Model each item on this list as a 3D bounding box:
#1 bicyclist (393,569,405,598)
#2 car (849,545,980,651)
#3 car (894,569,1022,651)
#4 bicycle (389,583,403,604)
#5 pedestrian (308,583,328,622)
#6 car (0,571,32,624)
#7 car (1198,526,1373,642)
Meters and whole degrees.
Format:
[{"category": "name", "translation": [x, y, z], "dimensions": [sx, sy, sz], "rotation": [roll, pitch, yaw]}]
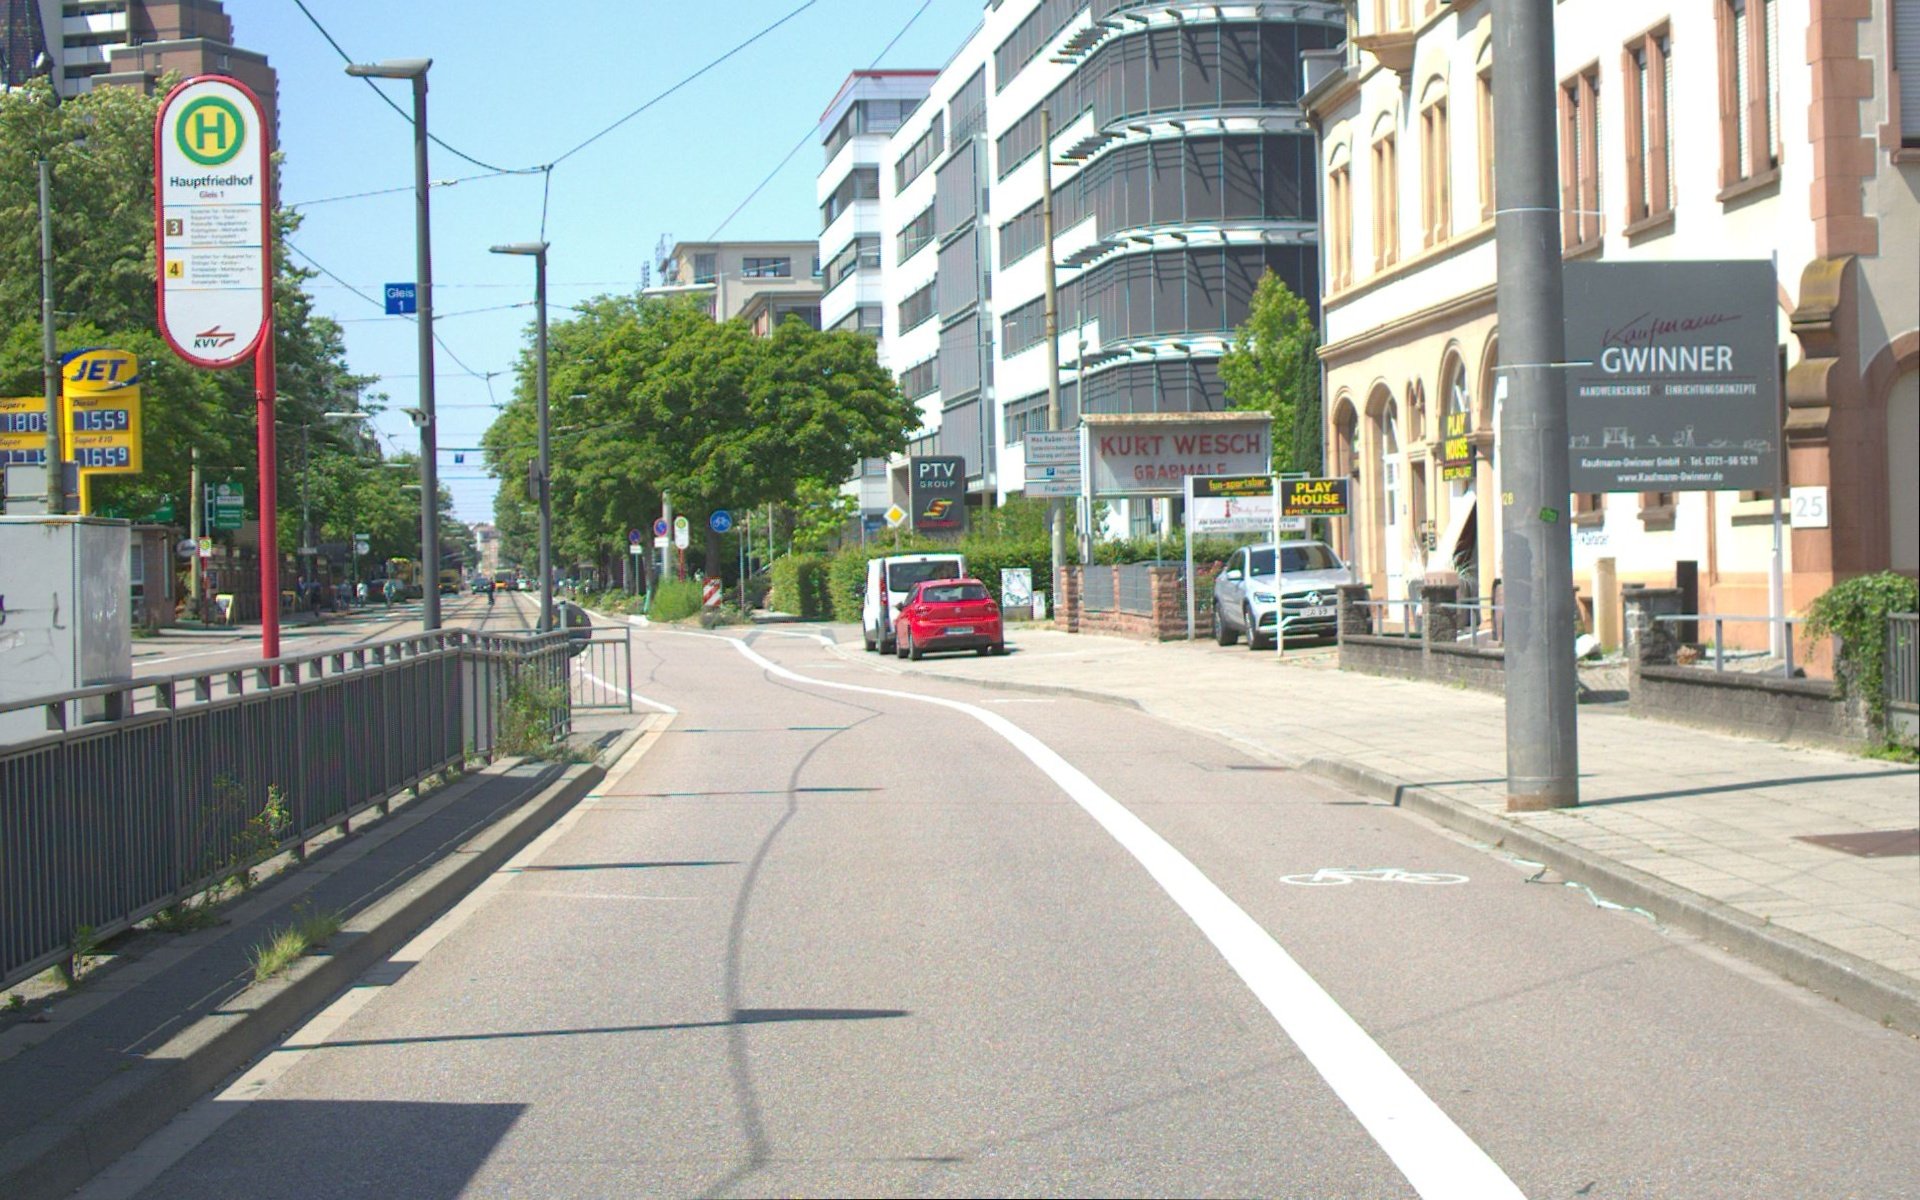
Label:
[{"category": "bicyclist", "translation": [-32.405, -0.958, 198.566], "dimensions": [0.642, 1.674, 0.815], "rotation": [-1, 0, -8]}, {"category": "car", "translation": [-0.994, -0.081, 70.622], "dimensions": [1.993, 1.985, 5.516], "rotation": [-3, 1, -7]}, {"category": "car", "translation": [-0.079, 0.158, 64.026], "dimensions": [1.993, 1.437, 4.017], "rotation": [-1, 1, -5]}, {"category": "bicycle", "translation": [-32.598, -0.378, 198.723], "dimensions": [0.701, 1.200, 2.241], "rotation": [-3, 1, -8]}, {"category": "pedestrian", "translation": [-29.286, 0.112, 156.832], "dimensions": [0.814, 1.764, 0.925], "rotation": [-1, 0, -8]}, {"category": "car", "translation": [-30.440, -0.019, 103.788], "dimensions": [1.998, 1.584, 4.324], "rotation": [-1, 1, 37]}, {"category": "car", "translation": [5.087, -0.267, 54.274], "dimensions": [1.878, 1.619, 4.640], "rotation": [-4, 1, -4]}]
